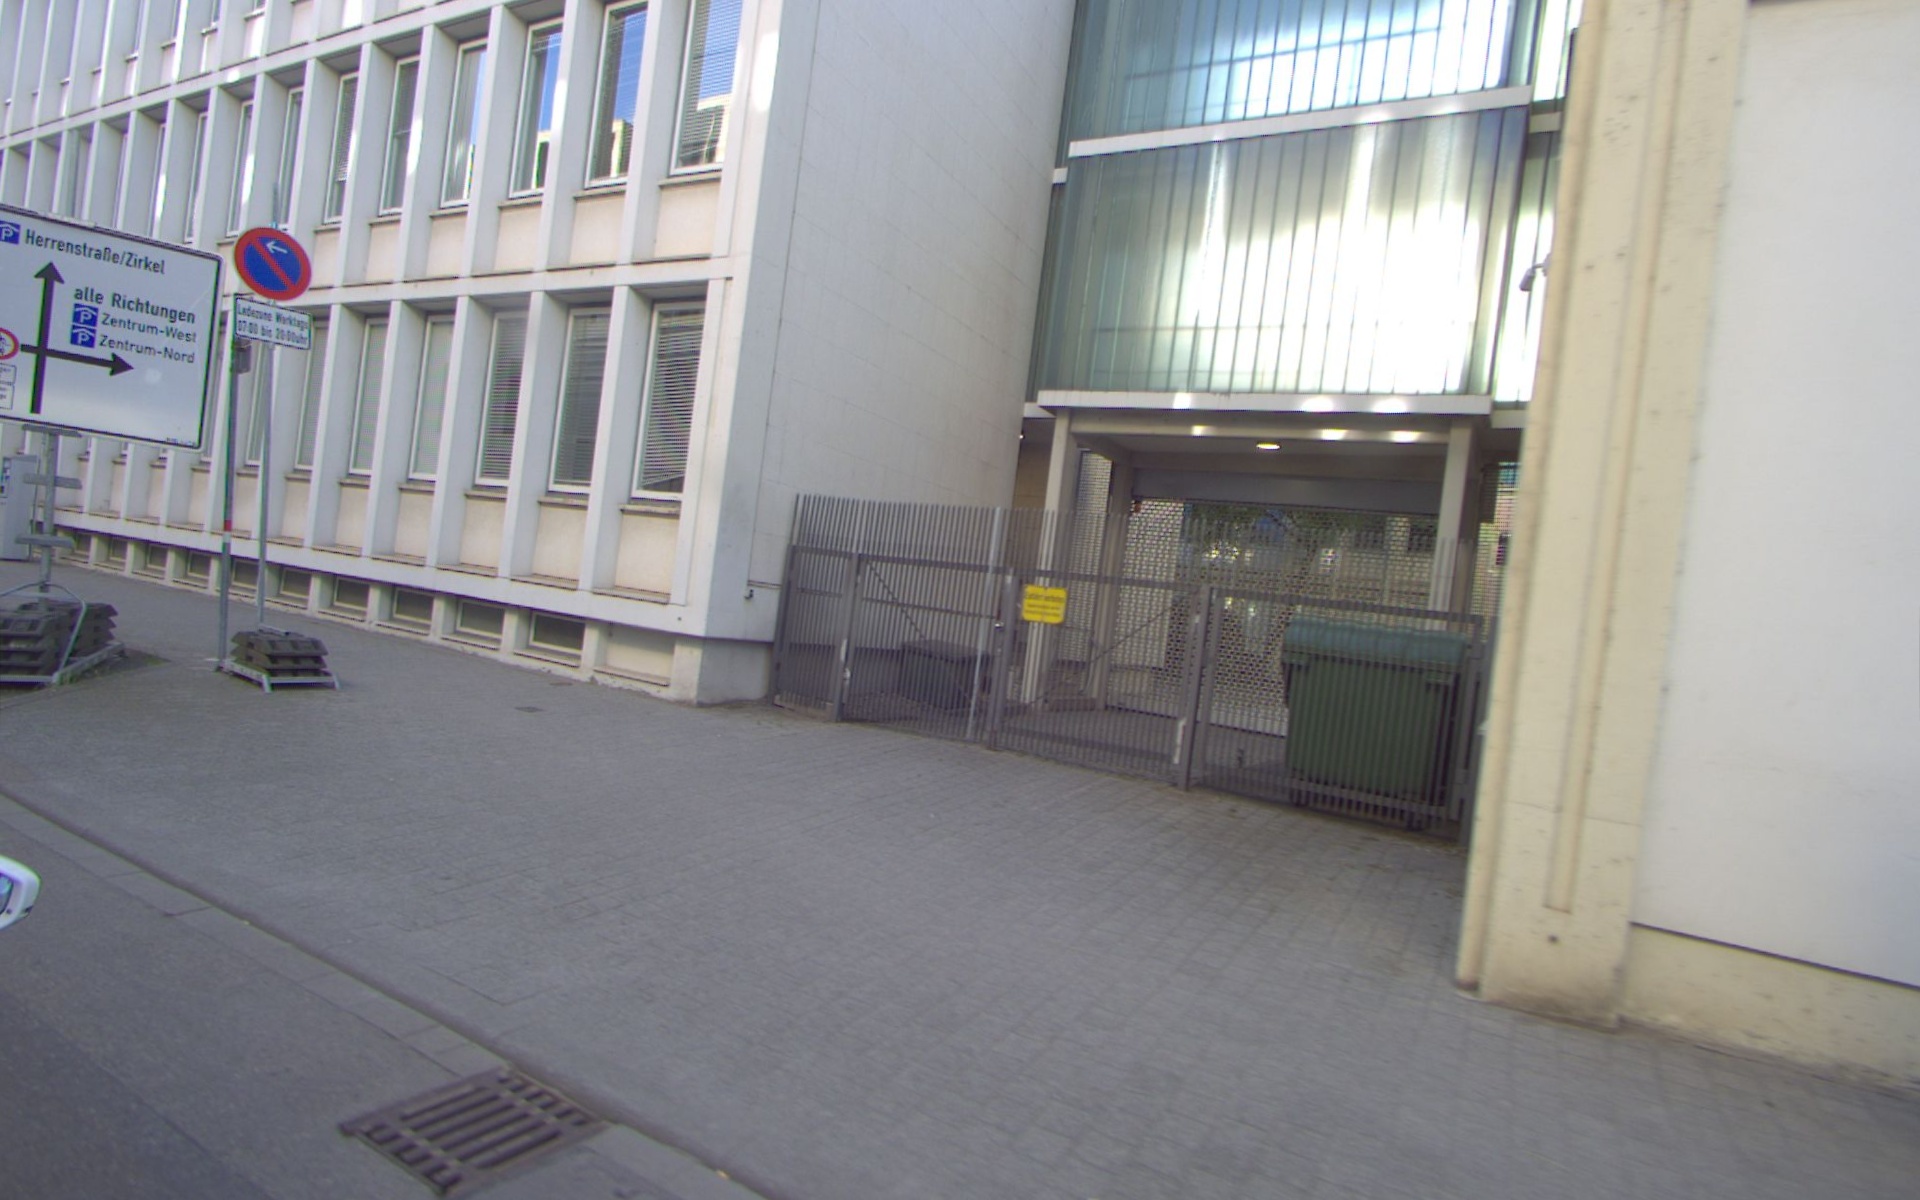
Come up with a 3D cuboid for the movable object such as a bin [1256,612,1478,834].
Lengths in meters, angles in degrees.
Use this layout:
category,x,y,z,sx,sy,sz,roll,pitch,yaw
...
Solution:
category,x,y,z,sx,sy,sz,roll,pitch,yaw
movable object such as a bin,3.212,0.921,7.913,1.360,1.453,0.969,6,-1,30
